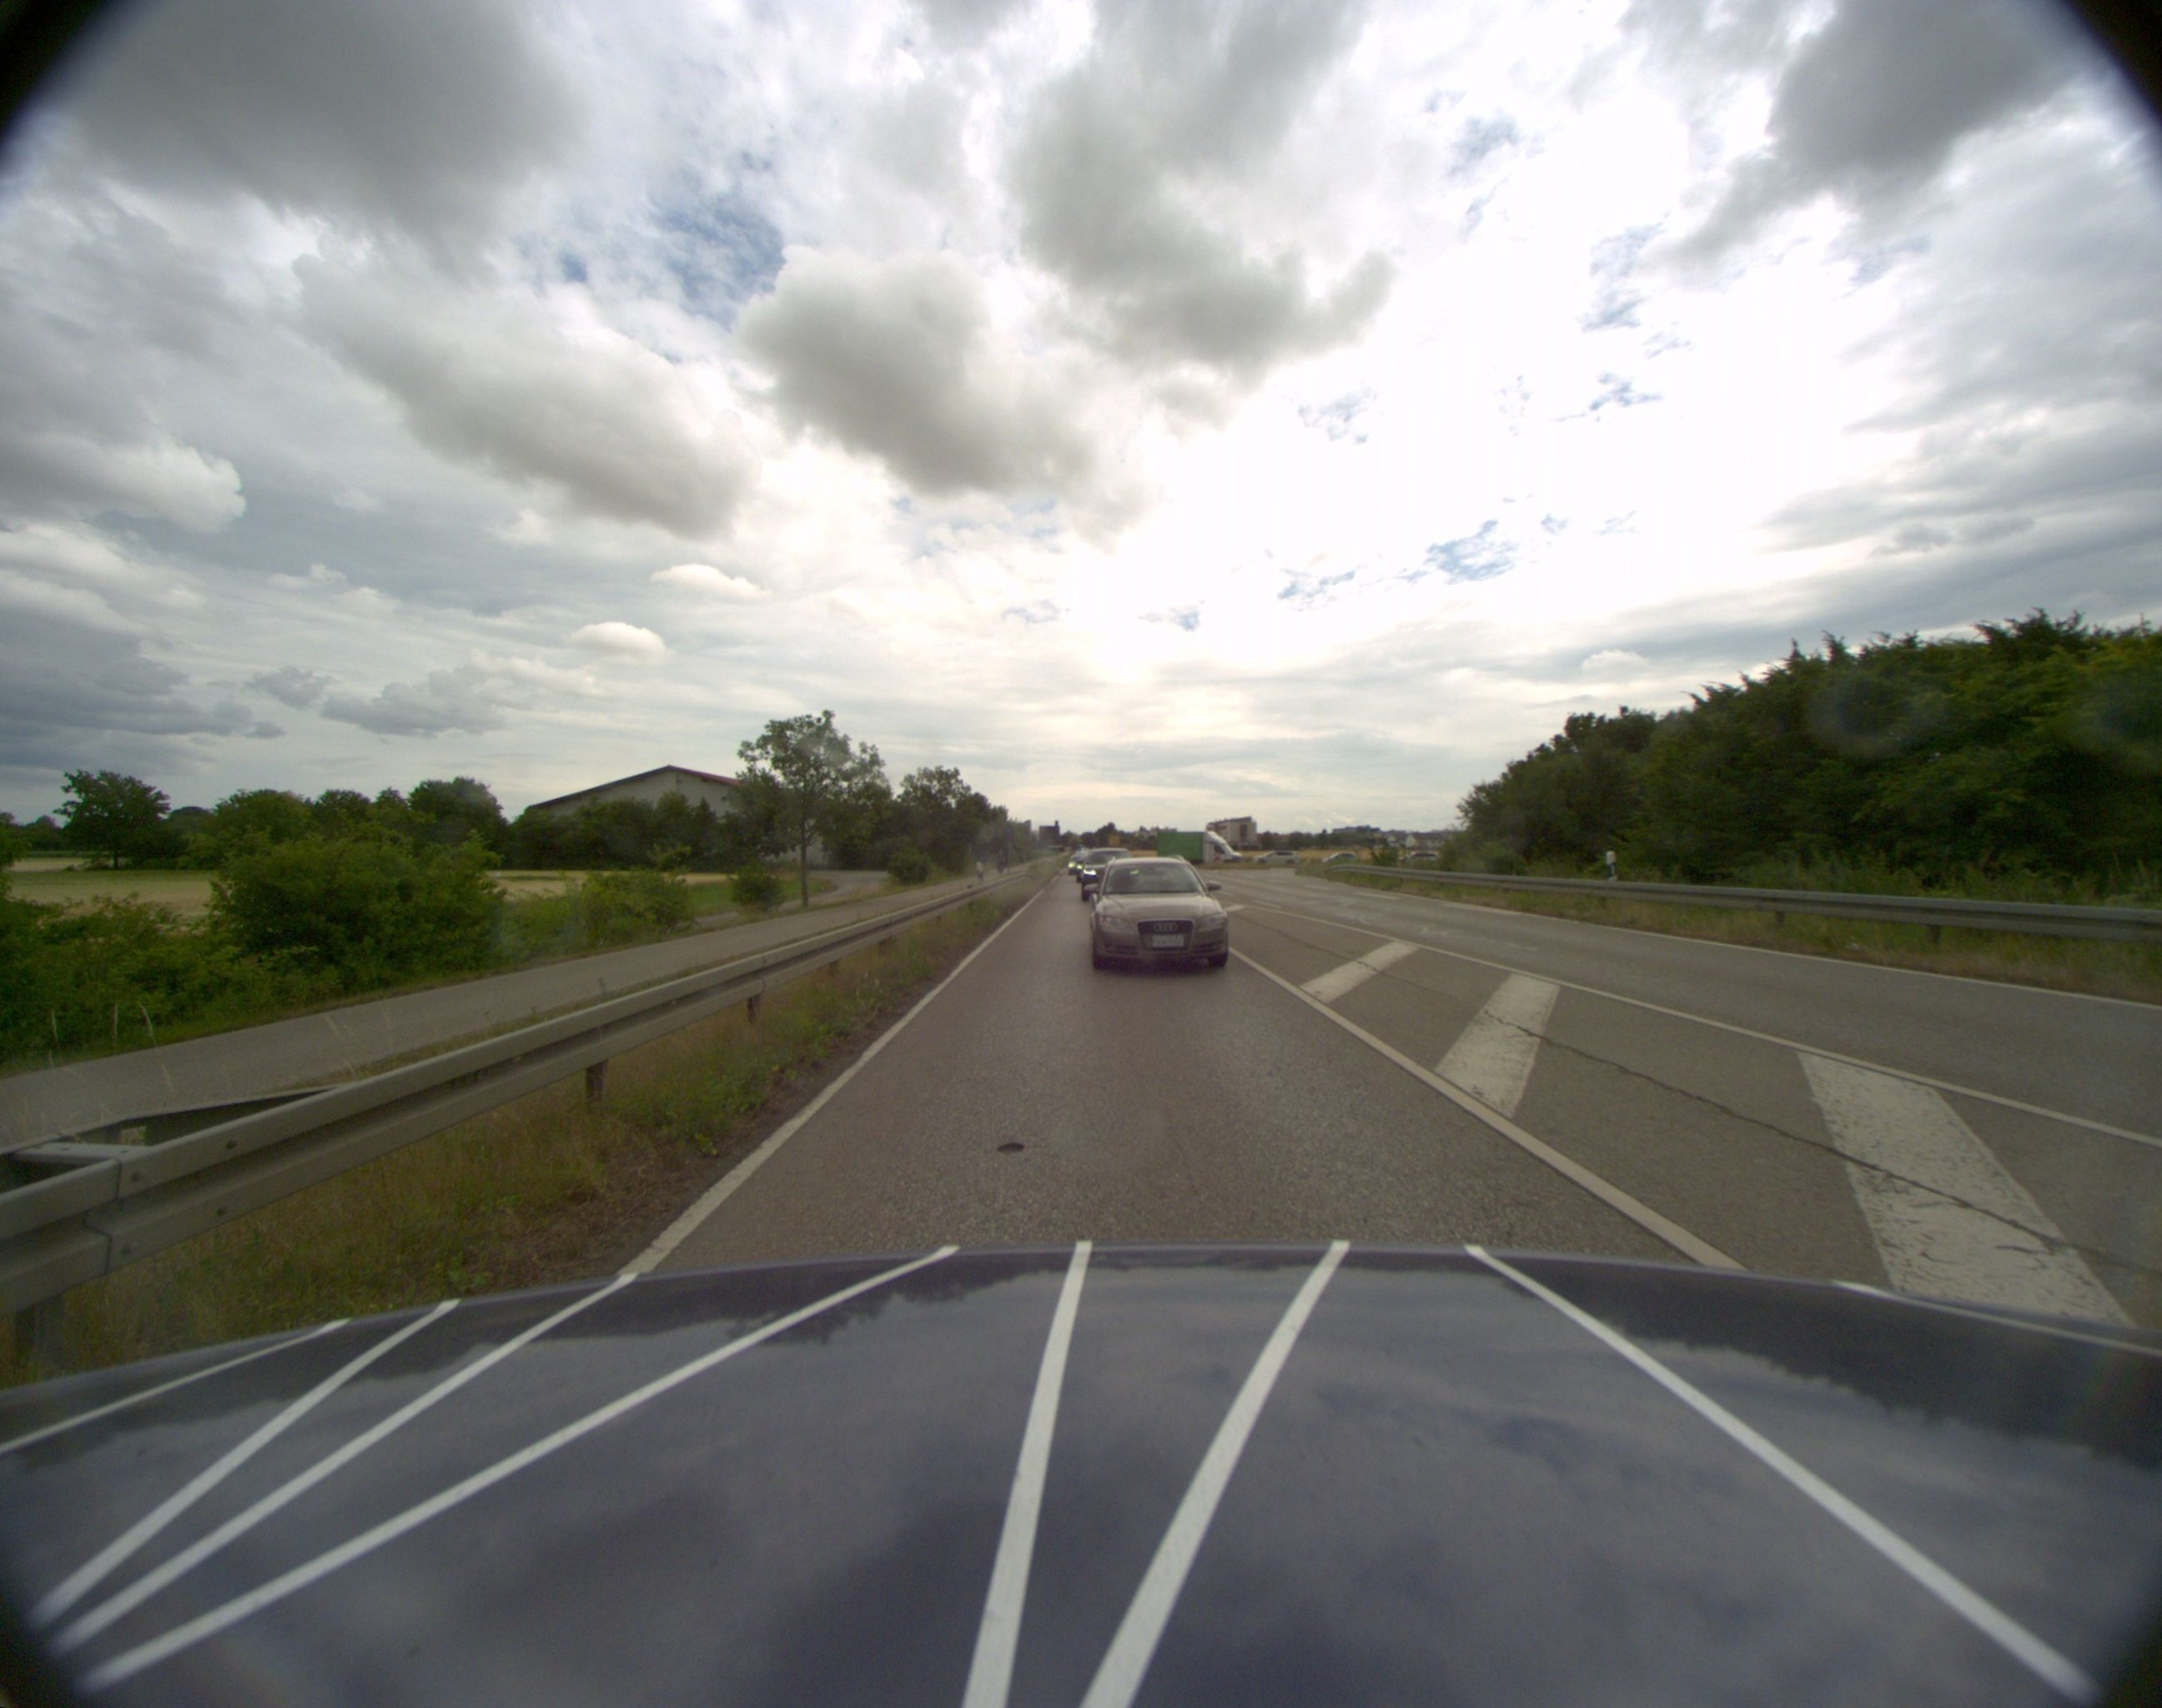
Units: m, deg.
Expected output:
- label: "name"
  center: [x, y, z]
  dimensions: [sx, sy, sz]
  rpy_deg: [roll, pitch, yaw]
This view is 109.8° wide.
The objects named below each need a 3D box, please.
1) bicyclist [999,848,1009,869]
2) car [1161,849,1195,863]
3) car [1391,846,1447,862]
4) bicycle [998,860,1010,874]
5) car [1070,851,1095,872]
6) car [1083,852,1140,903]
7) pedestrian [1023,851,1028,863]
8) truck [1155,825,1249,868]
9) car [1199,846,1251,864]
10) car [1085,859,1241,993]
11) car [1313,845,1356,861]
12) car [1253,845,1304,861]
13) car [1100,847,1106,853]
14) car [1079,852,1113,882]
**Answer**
- label: "bicyclist"
  center: [-5.723, 0.334, 56.339]
  dimensions: [0.640, 1.573, 0.969]
  rpy_deg: [-1, 1, 0]
- label: "car"
  center: [10.344, 0.195, 81.490]
  dimensions: [2.002, 1.481, 3.831]
  rpy_deg: [-1, 1, -22]
- label: "car"
  center: [32.924, -0.037, 74.153]
  dimensions: [4.672, 1.490, 2.001]
  rpy_deg: [-1, 1, 8]
- label: "bicycle"
  center: [-5.719, 0.934, 56.370]
  dimensions: [0.640, 0.972, 2.072]
  rpy_deg: [-1, 1, 0]
- label: "car"
  center: [0.089, 0.547, 56.432]
  dimensions: [1.730, 1.436, 4.203]
  rpy_deg: [-2, 1, 0]
- label: "car"
  center: [0.944, 0.720, 25.557]
  dimensions: [1.730, 1.534, 4.203]
  rpy_deg: [-2, 1, 0]
- label: "pedestrian"
  center: [-7.070, 0.339, 96.962]
  dimensions: [0.592, 1.512, 0.501]
  rpy_deg: [-2, 1, 7]
- label: "truck"
  center: [10.793, -0.639, 67.848]
  dimensions: [7.585, 3.542, 2.938]
  rpy_deg: [-2, 1, 30]
- label: "car"
  center: [14.456, 0.099, 76.409]
  dimensions: [4.816, 1.680, 1.999]
  rpy_deg: [-1, 1, -4]
- label: "car"
  center: [0.959, 0.842, 10.853]
  dimensions: [1.730, 1.436, 4.203]
  rpy_deg: [-2, 1, 0]
- label: "car"
  center: [25.014, -0.108, 75.098]
  dimensions: [3.714, 1.490, 1.731]
  rpy_deg: [-1, 1, 7]
- label: "car"
  center: [19.706, -0.085, 76.004]
  dimensions: [4.673, 1.490, 2.001]
  rpy_deg: [-1, 1, 7]
- label: "car"
  center: [7.093, -1.359, 244.900]
  dimensions: [1.998, 2.002, 3.999]
  rpy_deg: [-2, 1, 1]
- label: "car"
  center: [0.778, 0.679, 41.471]
  dimensions: [1.730, 1.478, 4.203]
  rpy_deg: [-2, 1, 0]
